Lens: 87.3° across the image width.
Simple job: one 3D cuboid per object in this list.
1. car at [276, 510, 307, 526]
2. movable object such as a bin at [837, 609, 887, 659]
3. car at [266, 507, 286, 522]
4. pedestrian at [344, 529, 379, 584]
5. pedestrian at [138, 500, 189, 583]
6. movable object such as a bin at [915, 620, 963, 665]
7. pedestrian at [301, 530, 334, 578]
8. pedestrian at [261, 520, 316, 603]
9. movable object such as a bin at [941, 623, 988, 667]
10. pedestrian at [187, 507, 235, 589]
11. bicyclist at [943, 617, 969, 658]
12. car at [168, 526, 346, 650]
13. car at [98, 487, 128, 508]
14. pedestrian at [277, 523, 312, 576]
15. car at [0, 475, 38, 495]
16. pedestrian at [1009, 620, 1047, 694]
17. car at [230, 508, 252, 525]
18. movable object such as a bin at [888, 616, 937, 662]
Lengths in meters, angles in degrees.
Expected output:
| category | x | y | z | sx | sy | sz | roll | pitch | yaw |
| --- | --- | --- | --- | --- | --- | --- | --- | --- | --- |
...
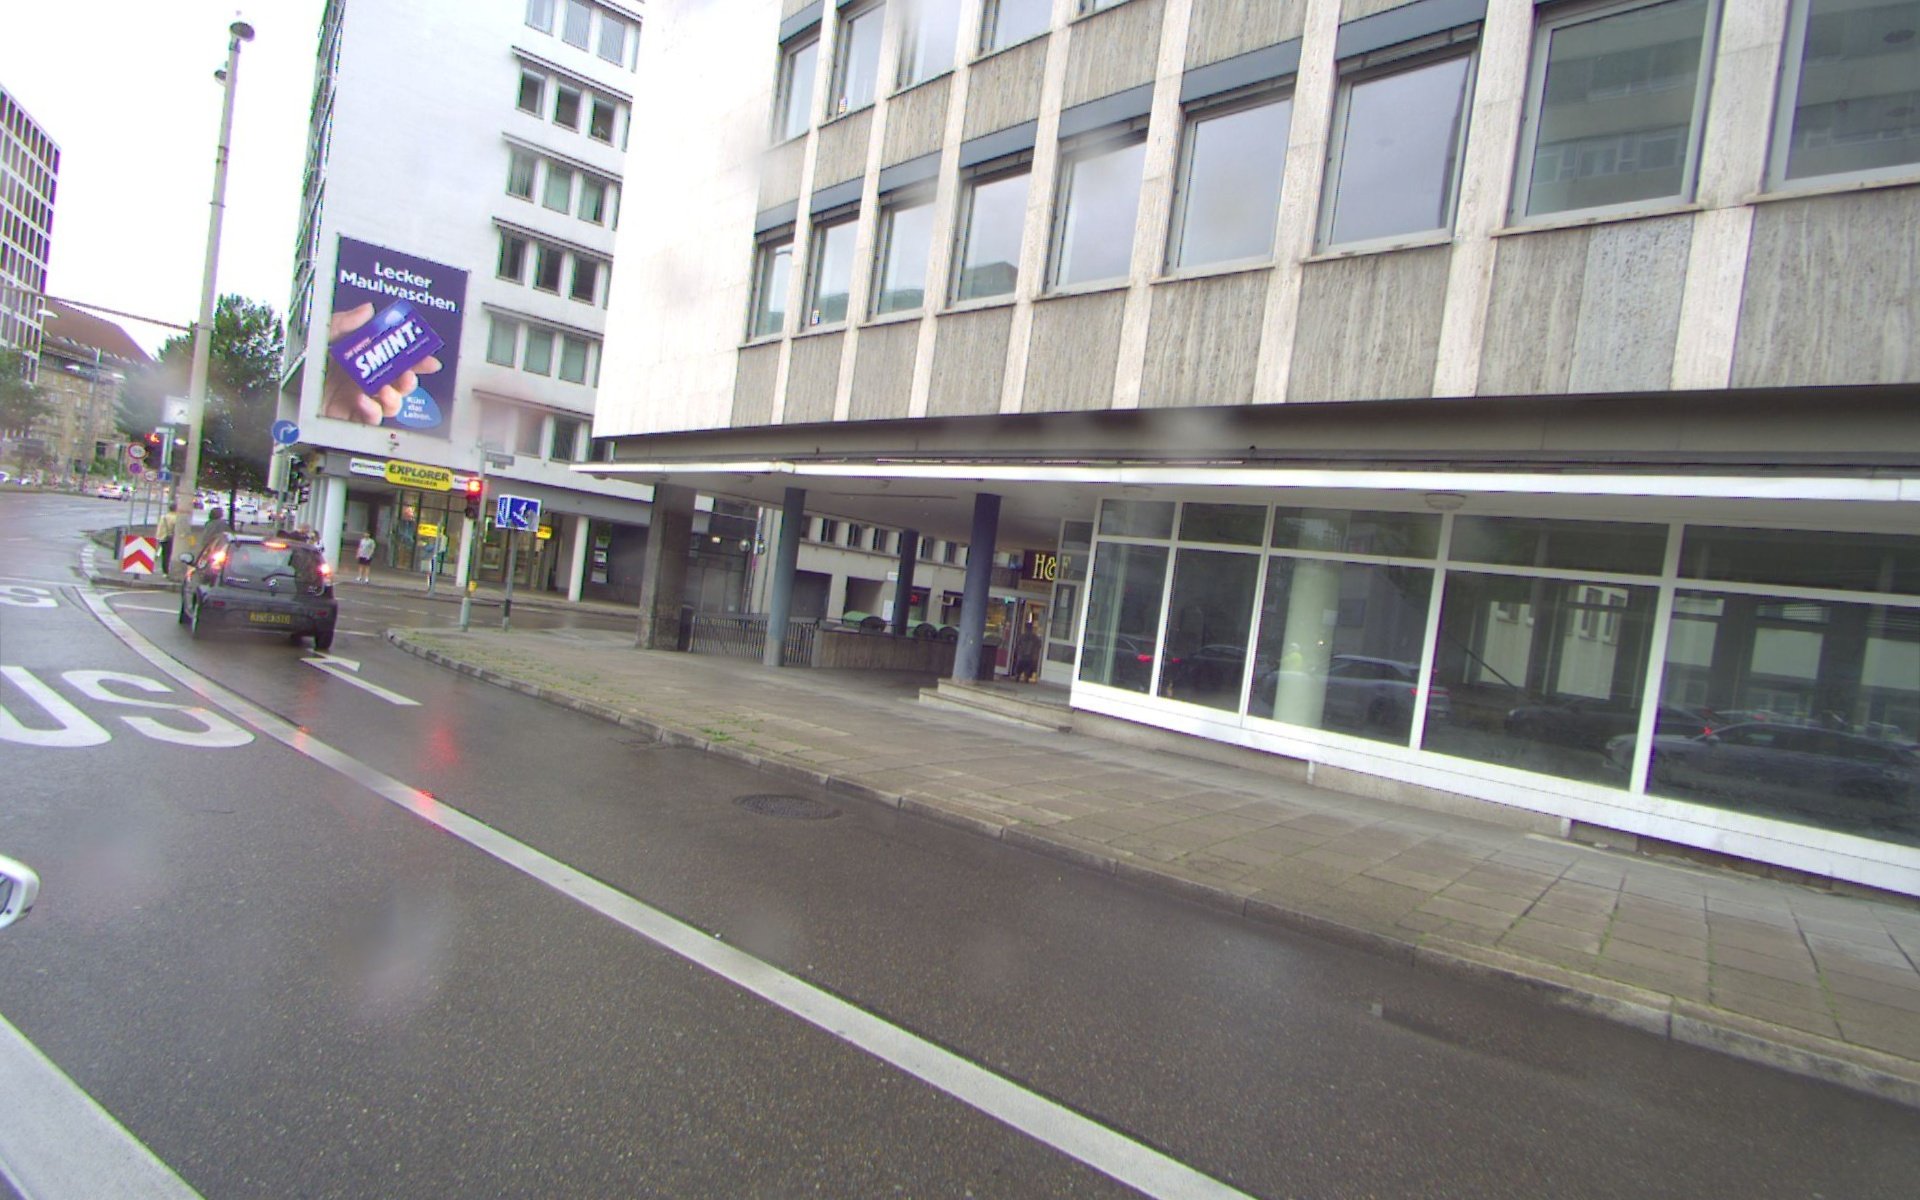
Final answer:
| category | x | y | z | sx | sy | sz | roll | pitch | yaw |
| --- | --- | --- | --- | --- | --- | --- | --- | --- | --- |
| car | -109.245 | -13.391 | 164.423 | 3.961 | 2.037 | 1.983 | 9 | -1 | -32 |
| movable object such as a bin | -3.275 | 1.132 | 33.532 | 0.961 | 1.447 | 1.268 | 7 | 1 | -36 |
| car | -91.579 | -11.392 | 134.719 | 1.680 | 1.503 | 3.973 | 8 | -2 | -28 |
| pedestrian | -20.968 | -1.524 | 35.260 | 0.660 | 1.815 | 0.771 | 7 | 0 | -15 |
| pedestrian | -18.617 | -1.369 | 23.530 | 0.745 | 1.820 | 0.808 | 7 | 1 | -38 |
| movable object such as a bin | -0.749 | 1.511 | 35.951 | 1.095 | 1.399 | 1.186 | 7 | 1 | -37 |
| pedestrian | -22.215 | -1.580 | 34.772 | 0.616 | 1.561 | 0.651 | 8 | 0 | -15 |
| pedestrian | -15.114 | -0.861 | 22.634 | 0.768 | 1.752 | 0.589 | 7 | 0 | -44 |
| movable object such as a bin | 0.156 | 1.638 | 36.638 | 1.095 | 1.399 | 1.186 | 7 | 1 | -37 |
| pedestrian | -17.767 | -1.238 | 23.868 | 0.745 | 1.820 | 0.808 | 7 | 1 | -38 |
| bicyclist | -0.171 | 1.554 | 41.764 | 0.764 | 1.588 | 0.527 | 7 | 0 | -40 |
| car | -10.457 | -0.231 | 14.841 | 1.566 | 1.446 | 3.953 | 9 | -2 | -42 |
| car | -86.488 | -10.459 | 102.768 | 1.878 | 1.662 | 3.962 | 8 | -1 | -35 |
| pedestrian | -22.861 | -1.726 | 34.579 | 0.660 | 1.675 | 0.651 | 8 | 0 | -15 |
| car | -97.772 | -11.940 | 104.541 | 1.979 | 1.506 | 3.968 | 8 | 0 | -30 |
| pedestrian | 1.782 | 1.481 | 26.212 | 0.697 | 1.825 | 0.801 | 8 | 0 | 7 |
| car | -109.119 | -12.636 | 152.682 | 2.414 | 2.037 | 4.532 | 8 | -1 | -36 |
| movable object such as a bin | -1.664 | 1.372 | 35.235 | 1.095 | 1.399 | 1.186 | 7 | 1 | -37 |
